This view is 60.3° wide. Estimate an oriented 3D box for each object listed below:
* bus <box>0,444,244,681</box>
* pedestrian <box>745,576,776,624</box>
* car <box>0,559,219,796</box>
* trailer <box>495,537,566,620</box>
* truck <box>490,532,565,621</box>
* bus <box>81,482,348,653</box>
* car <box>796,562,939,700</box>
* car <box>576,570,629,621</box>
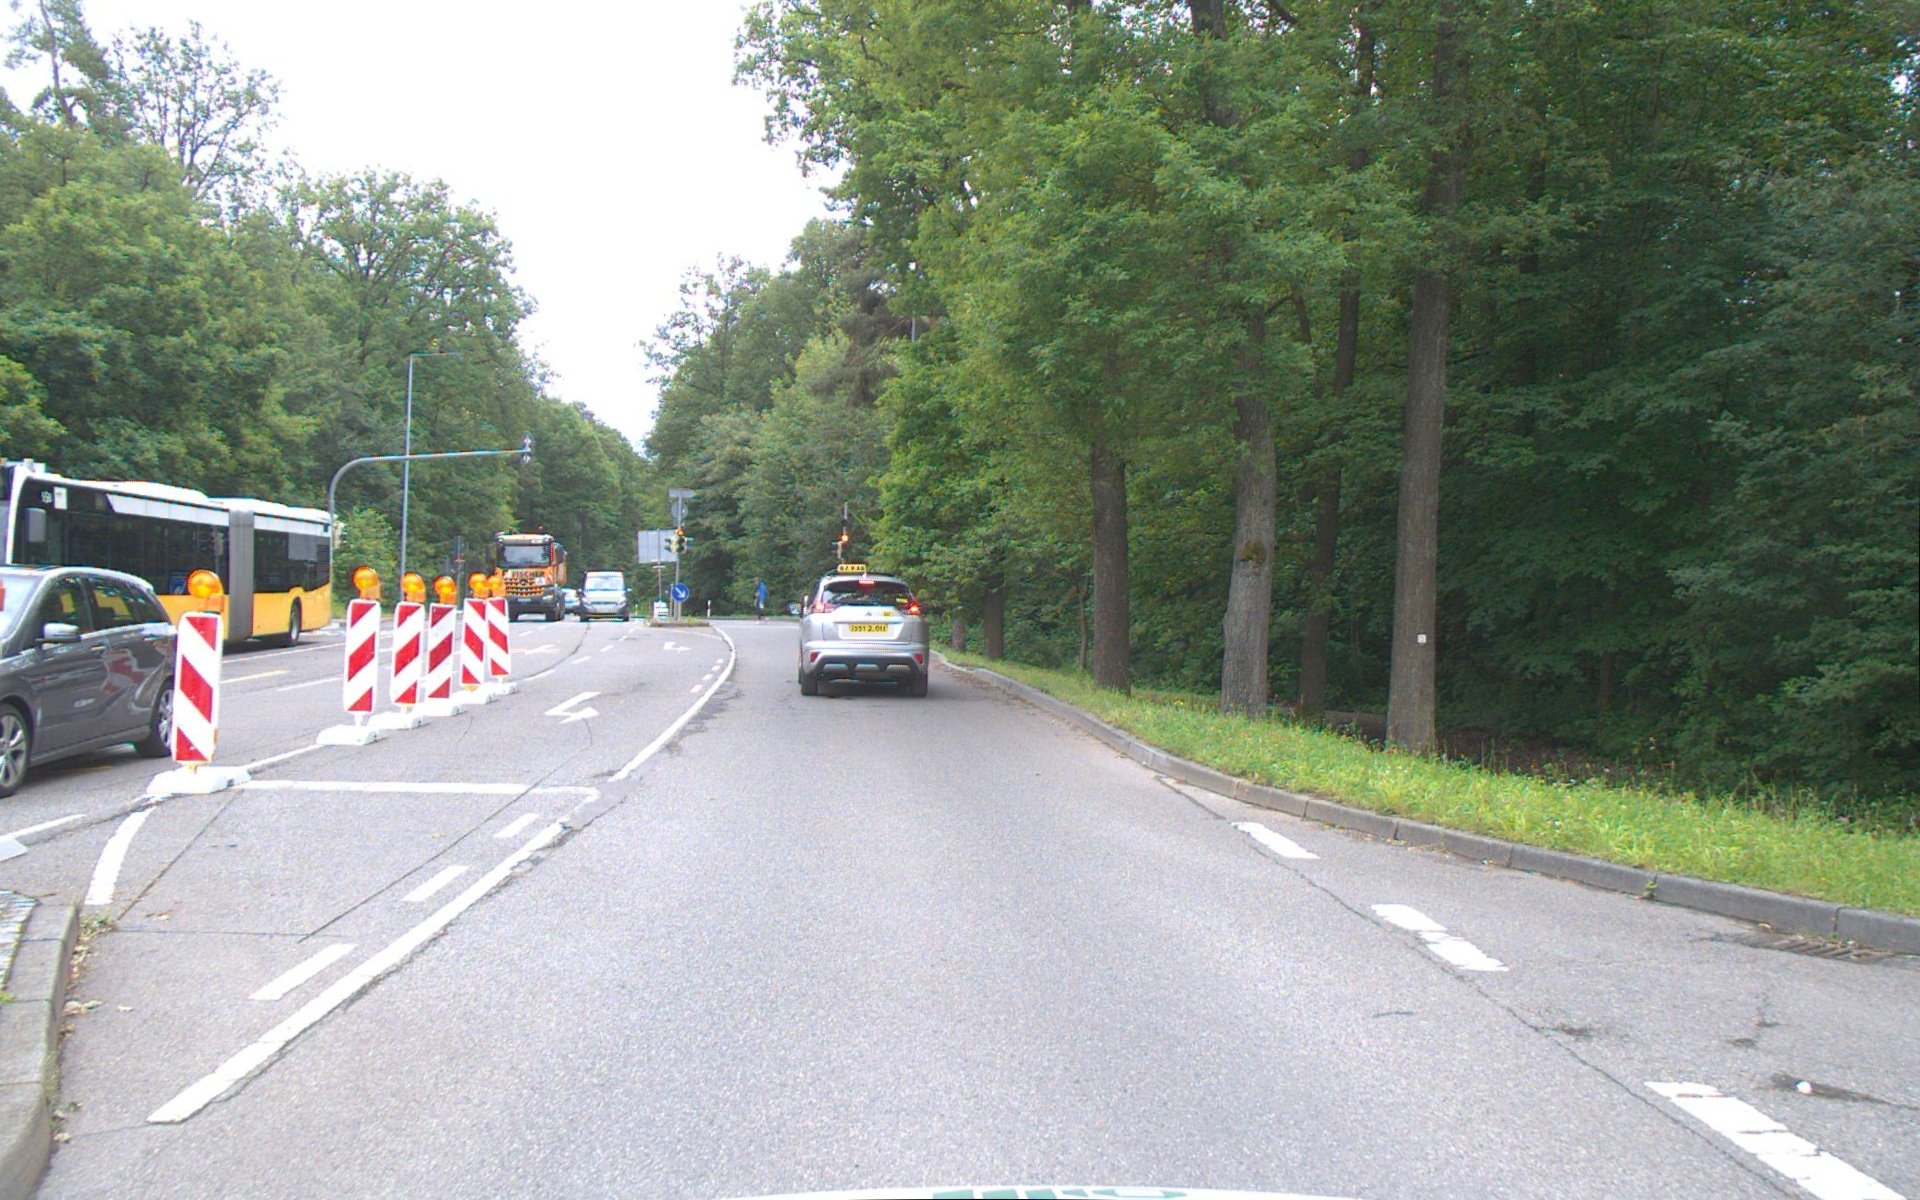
[{"bbox_3d":[-14.632,-0.583,26.880,2.844,3.181,9.743,2,0,-8],"label":"bus"},{"bbox_3d":[-7.037,-0.015,58.319,1.026,1.678,1.068,0,1,-5],"label":"pedestrian"},{"bbox_3d":[-7.210,0.507,12.208,1.772,1.535,4.304,0,0,-4],"label":"car"},{"bbox_3d":[-18.432,-0.841,71.421,2.691,3.376,8.540,0,0,-13],"label":"trailer"},{"bbox_3d":[-17.382,-0.885,66.782,2.691,3.376,7.135,0,0,-13],"label":"truck"},{"bbox_3d":[-15.870,-0.655,36.010,2.844,3.181,8.679,2,0,-8],"label":"bus"},{"bbox_3d":[-1.410,0.385,23.847,1.811,1.811,3.994,0,1,-7],"label":"car"},{"bbox_3d":[-14.168,-0.164,65.759,1.958,1.927,4.825,-1,0,-12],"label":"car"}]
